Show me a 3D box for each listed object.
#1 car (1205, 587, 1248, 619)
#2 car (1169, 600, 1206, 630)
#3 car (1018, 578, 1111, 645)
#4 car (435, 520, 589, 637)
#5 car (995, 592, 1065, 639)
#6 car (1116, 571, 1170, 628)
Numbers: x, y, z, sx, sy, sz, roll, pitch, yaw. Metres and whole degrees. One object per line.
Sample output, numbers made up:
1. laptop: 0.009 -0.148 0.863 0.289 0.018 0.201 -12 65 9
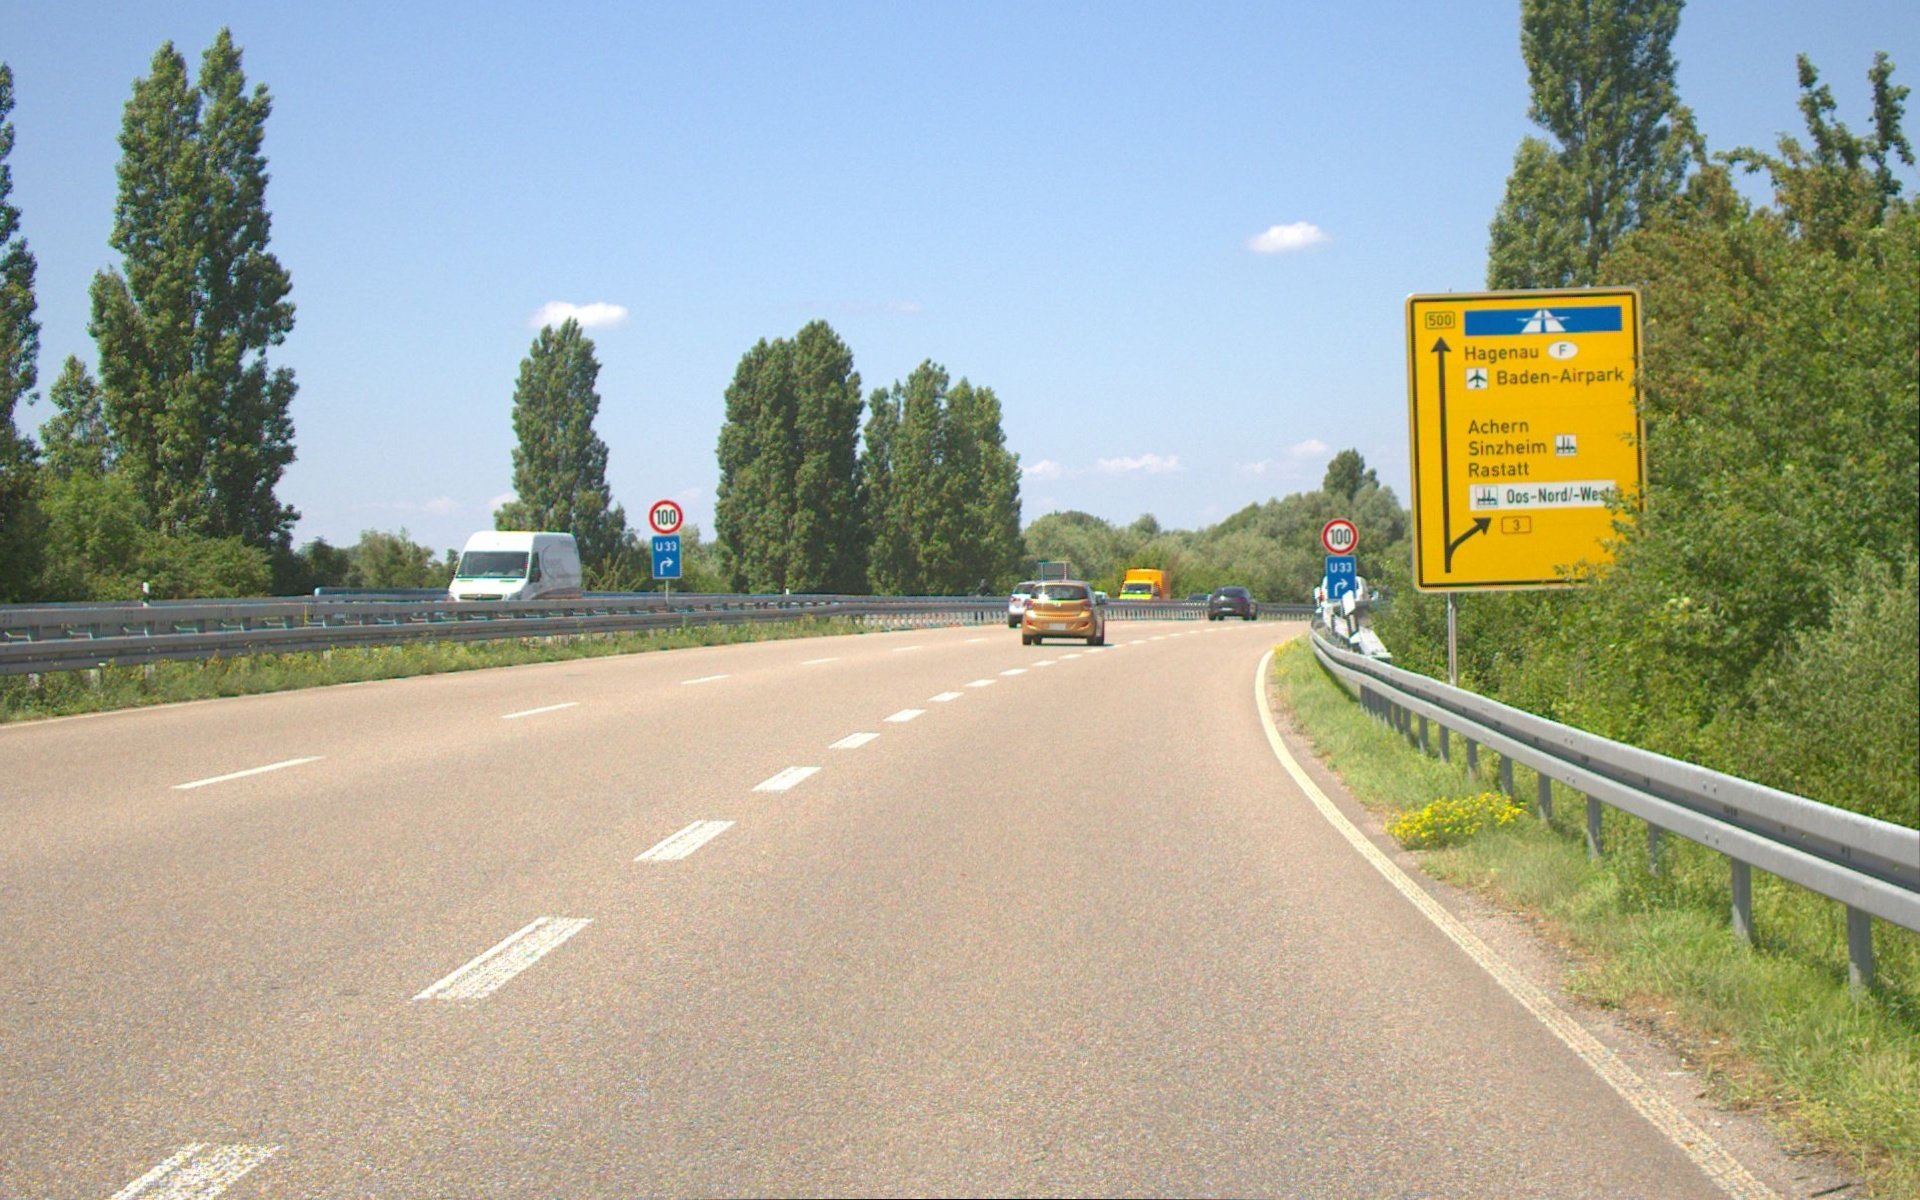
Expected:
1. car: 12.789 0.136 164.926 1.944 1.459 3.999 1 0 6
2. car: 14.566 0.980 219.745 1.853 1.812 4.792 0 -1 10
3. car: 2.429 0.257 78.985 1.841 1.459 3.999 1 0 6
4. car: -11.215 -0.476 86.730 2.279 2.764 7.220 0 -1 6
5. car: 2.245 0.477 109.255 1.841 1.446 3.999 1 0 6
6. car: 10.820 -0.035 202.367 2.306 3.281 7.025 0 0 10
